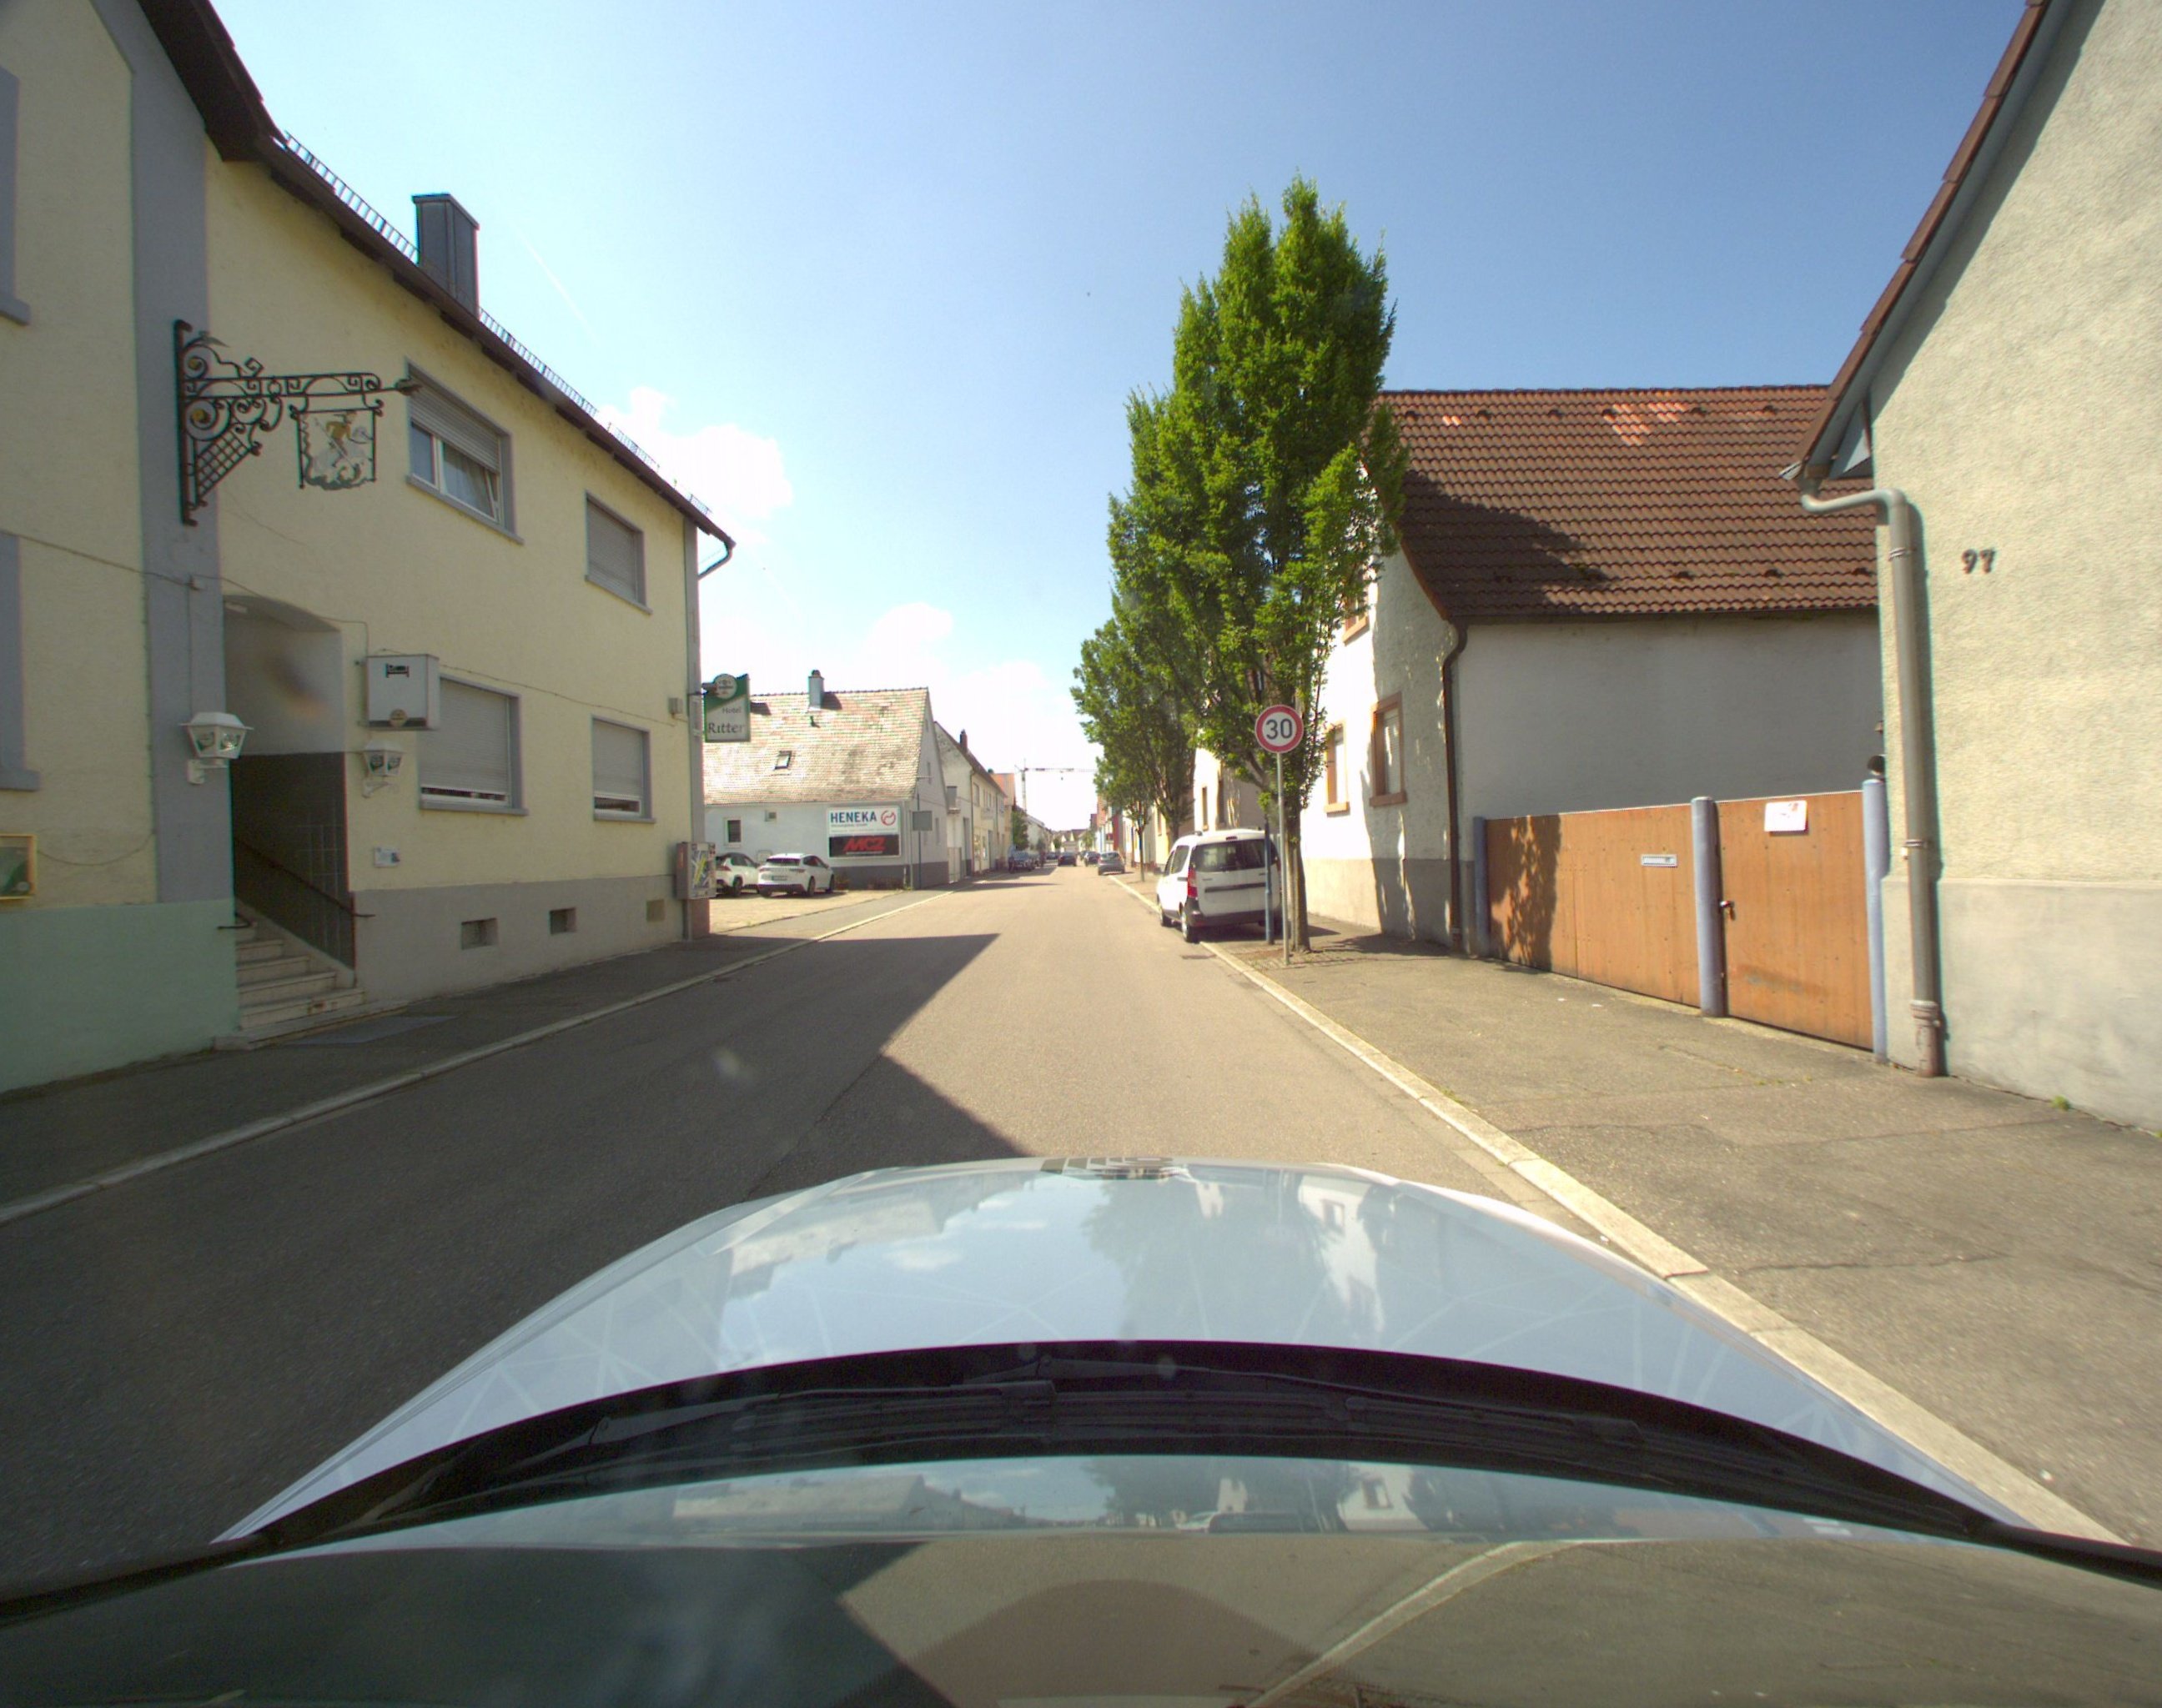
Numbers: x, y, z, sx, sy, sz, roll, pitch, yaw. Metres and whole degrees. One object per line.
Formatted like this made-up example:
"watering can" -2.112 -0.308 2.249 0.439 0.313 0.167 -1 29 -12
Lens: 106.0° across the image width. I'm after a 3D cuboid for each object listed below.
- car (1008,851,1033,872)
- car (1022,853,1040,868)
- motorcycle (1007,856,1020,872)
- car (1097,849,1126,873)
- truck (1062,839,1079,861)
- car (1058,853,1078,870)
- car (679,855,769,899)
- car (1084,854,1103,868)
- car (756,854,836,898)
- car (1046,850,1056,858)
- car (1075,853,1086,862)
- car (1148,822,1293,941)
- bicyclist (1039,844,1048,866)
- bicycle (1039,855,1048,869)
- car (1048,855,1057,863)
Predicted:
"car" -4.859 0.574 65.764 1.804 1.589 3.997 -1 0 -2
"car" -5.554 0.738 90.793 1.804 1.589 3.997 -1 0 -2
"motorcycle" -5.105 0.770 61.992 0.844 1.170 2.467 0 0 -2
"car" 1.886 0.407 51.686 1.713 1.461 4.157 -1 0 1
"truck" -2.114 -0.655 161.768 3.134 4.250 9.301 0 0 0
"car" -1.287 0.742 81.416 1.896 1.563 4.476 -1 0 0
"car" -13.425 0.818 30.886 1.715 1.556 4.195 0 0 -3
"car" 1.197 0.679 80.049 1.714 1.355 4.155 -1 0 -1
"car" -10.787 0.768 31.107 1.715 1.556 4.195 0 0 -3
"car" -5.973 -0.024 160.781 1.804 1.589 3.998 -1 0 -1
"car" -0.113 0.567 128.941 1.714 1.268 4.155 -1 0 -1
"car" 2.395 0.430 14.992 1.715 1.790 4.140 -3 0 -3
"bicyclist" -3.498 0.074 75.833 0.738 2.059 0.844 0 -1 -2
"bicycle" -3.493 0.731 75.761 0.749 1.308 2.683 0 0 -1
"car" -5.817 1.019 167.441 1.804 1.589 3.997 -1 0 -2
